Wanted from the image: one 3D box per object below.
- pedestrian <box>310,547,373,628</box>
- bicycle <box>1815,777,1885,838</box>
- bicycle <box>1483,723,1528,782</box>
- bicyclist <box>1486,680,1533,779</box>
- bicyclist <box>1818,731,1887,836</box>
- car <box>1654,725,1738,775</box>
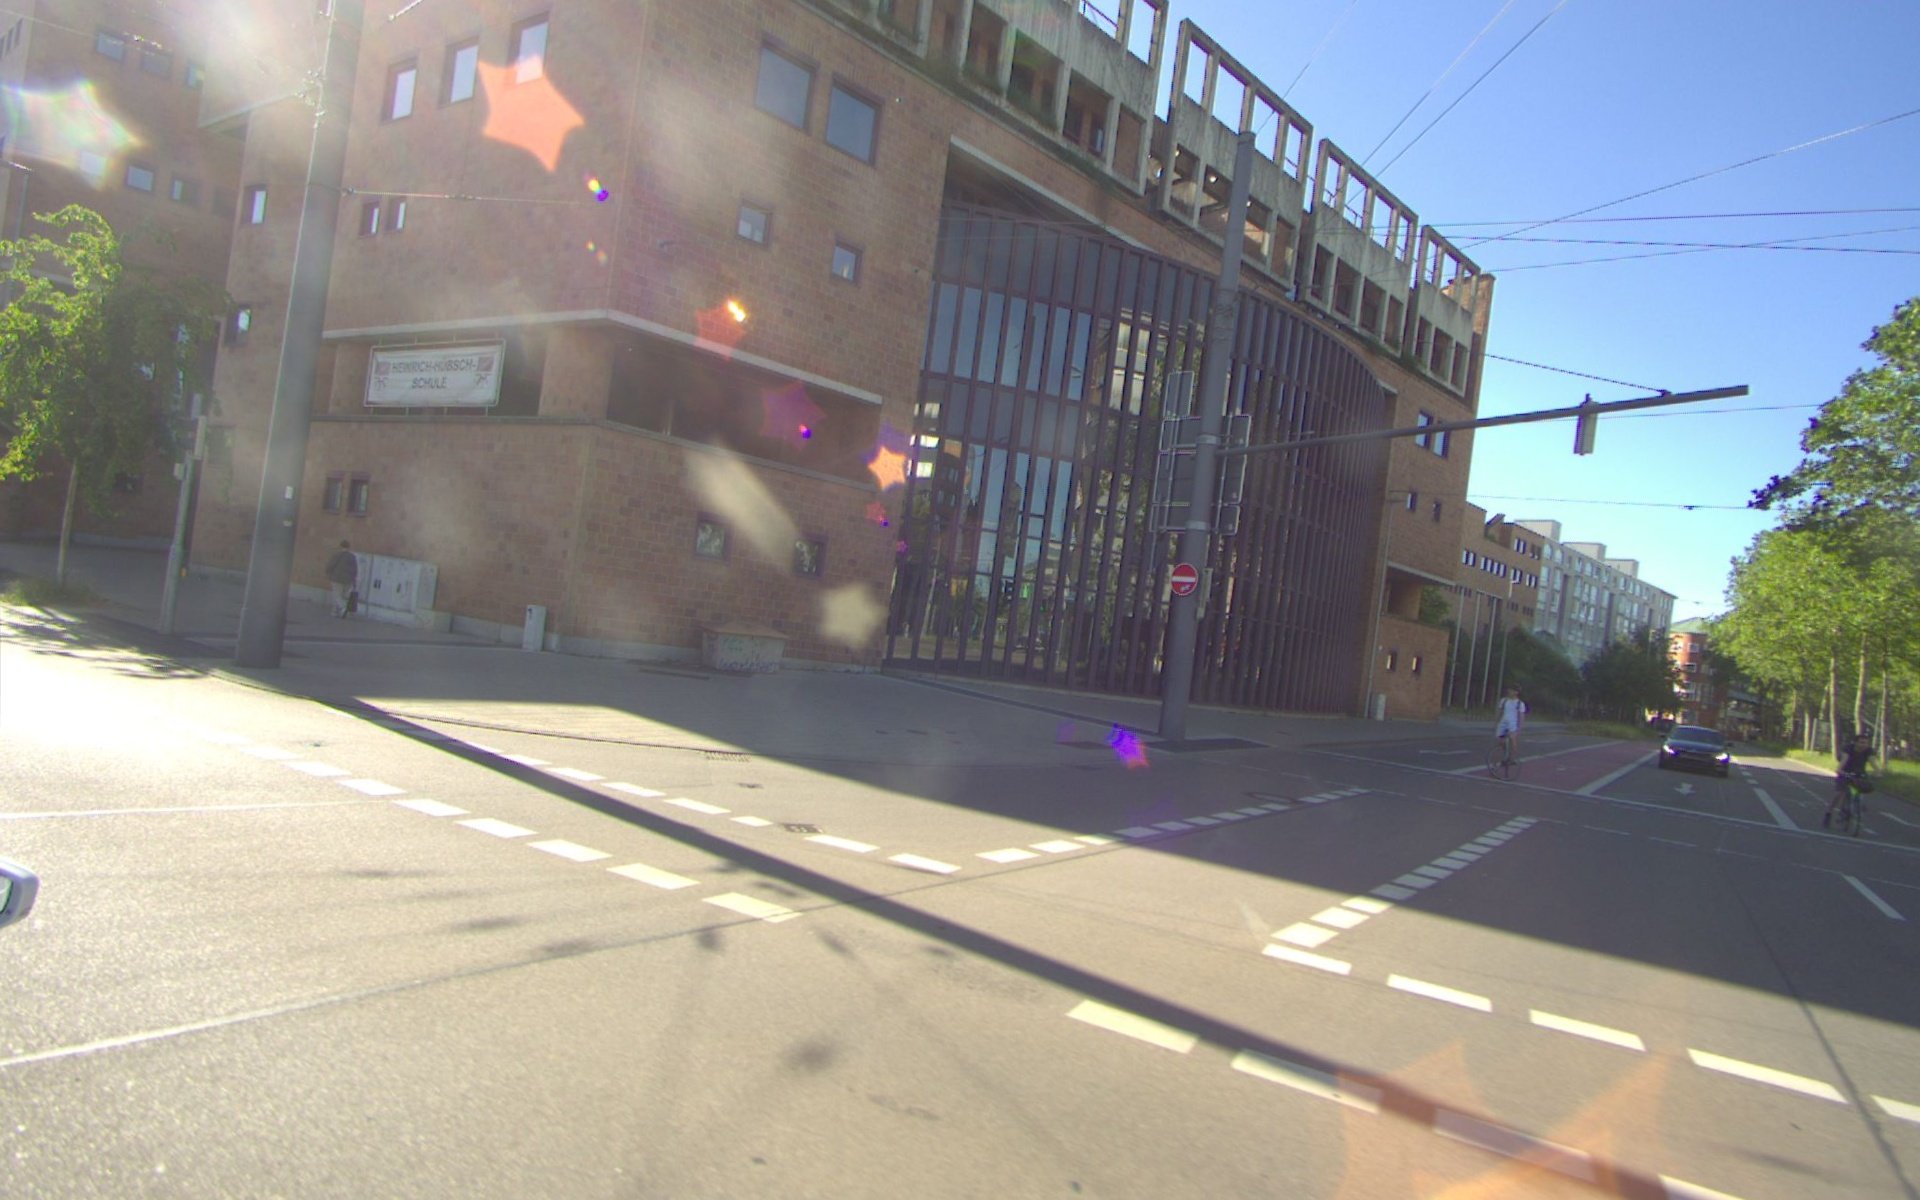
[{"bbox_3d":[-13.085,-0.262,21.296,0.971,1.581,0.618,6,-1,32],"label":"pedestrian"},{"bbox_3d":[15.369,3.561,17.410,0.663,0.816,1.669,6,-2,36],"label":"bicycle"},{"bbox_3d":[10.874,3.012,20.041,0.662,1.006,1.672,7,-1,30],"label":"bicycle"},{"bbox_3d":[11.288,2.645,20.673,0.640,1.906,0.607,7,0,30],"label":"bicyclist"},{"bbox_3d":[15.435,3.153,17.425,0.661,1.649,0.863,7,-1,36],"label":"bicyclist"},{"bbox_3d":[24.226,4.917,33.062,1.714,1.281,3.982,6,-2,42],"label":"car"}]
